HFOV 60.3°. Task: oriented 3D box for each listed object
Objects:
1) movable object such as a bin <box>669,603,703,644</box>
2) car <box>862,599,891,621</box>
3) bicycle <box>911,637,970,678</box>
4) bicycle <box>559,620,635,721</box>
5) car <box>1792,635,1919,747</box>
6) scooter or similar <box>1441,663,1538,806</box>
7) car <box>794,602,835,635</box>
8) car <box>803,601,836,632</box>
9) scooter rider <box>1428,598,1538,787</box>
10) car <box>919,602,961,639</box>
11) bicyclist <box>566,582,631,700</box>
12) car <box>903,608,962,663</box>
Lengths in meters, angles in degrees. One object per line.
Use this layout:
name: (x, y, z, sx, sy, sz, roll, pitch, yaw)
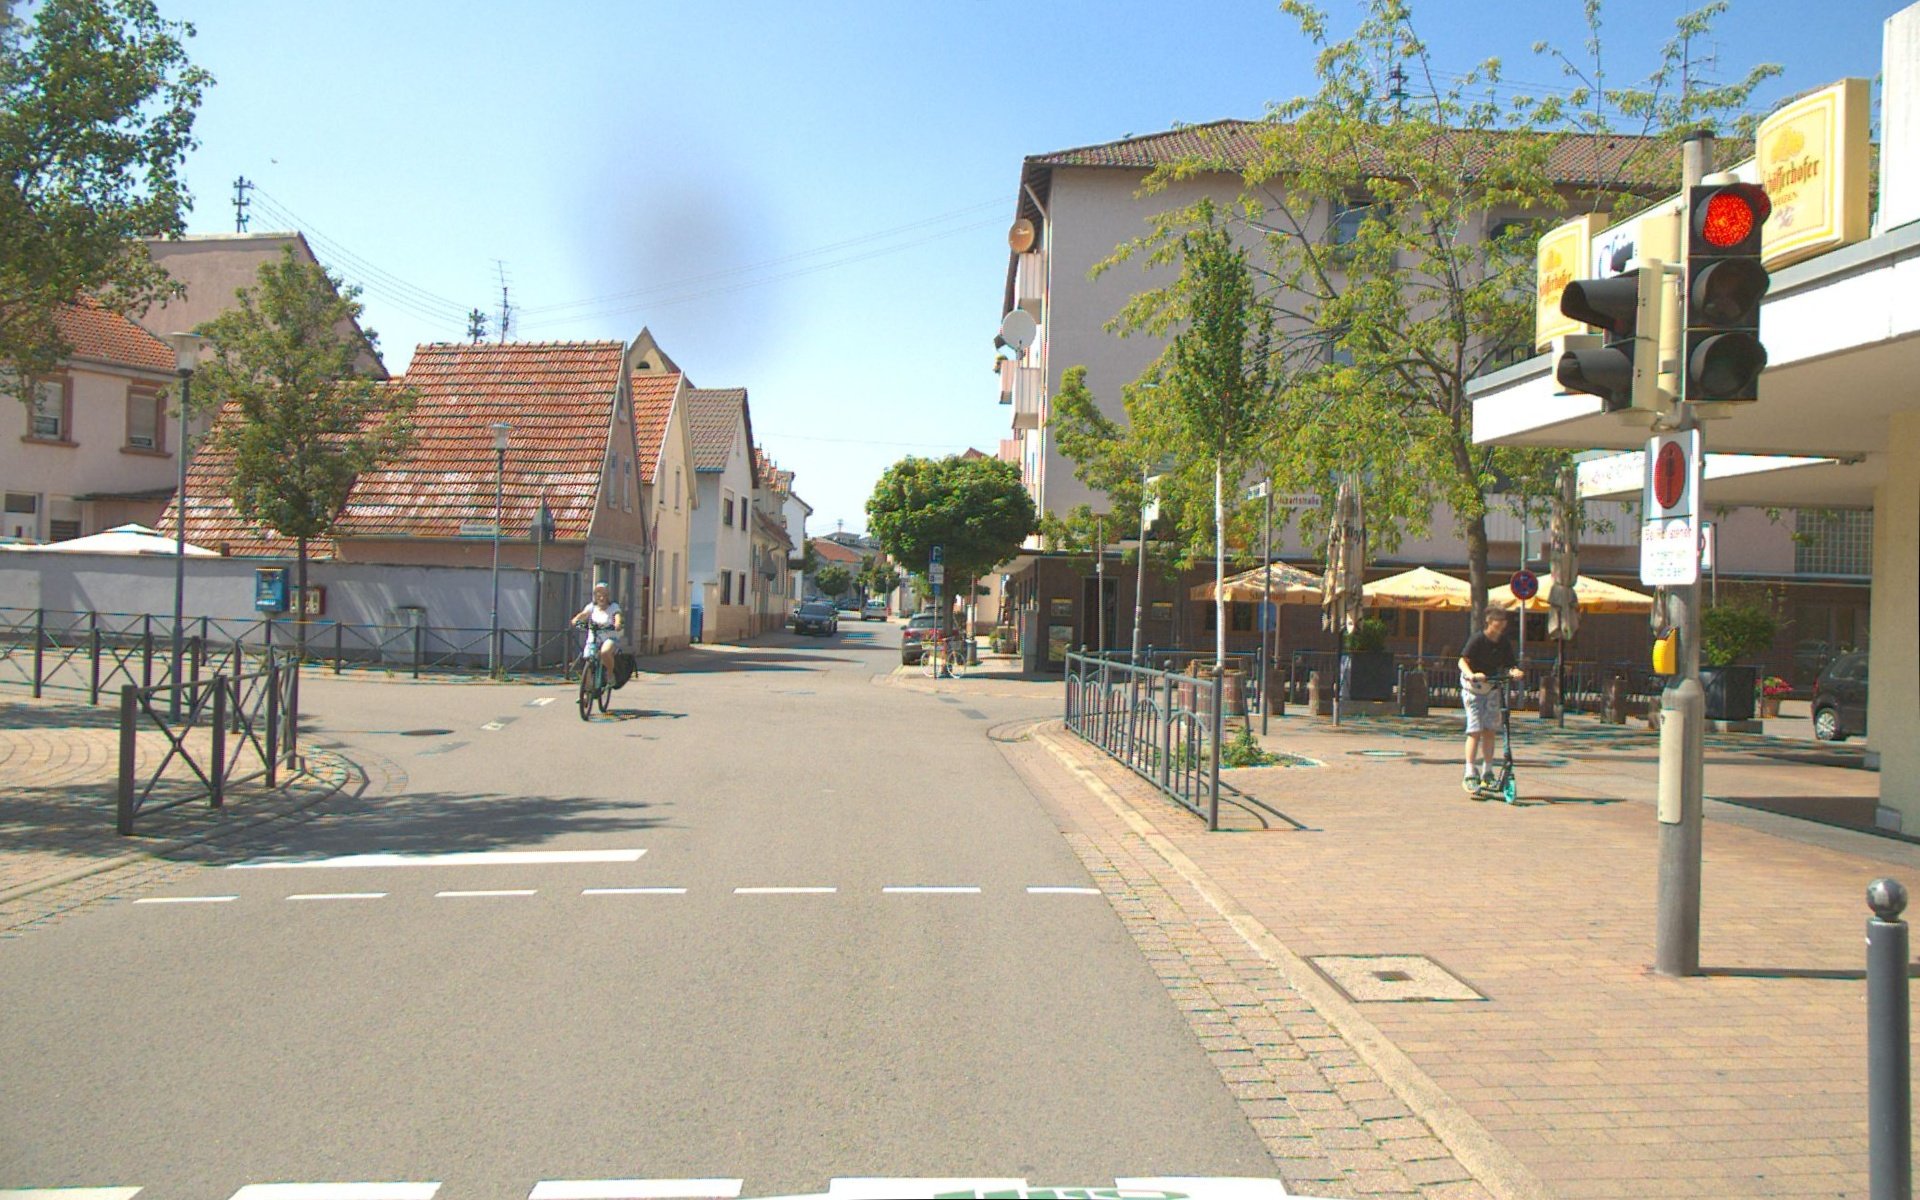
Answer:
movable object such as a bin: (-9.369, 0.811, 56.616, 1.078, 1.389, 0.390, 1, -1, 3)
car: (-6.537, 0.787, 128.922, 1.988, 1.626, 4.502, 1, 0, -7)
bicycle: (-0.465, 1.326, 38.546, 1.386, 0.913, 0.463, 0, 0, 36)
bicycle: (-4.837, 0.915, 22.147, 0.694, 1.274, 1.970, 1, 0, -4)
car: (14.054, 1.314, 23.893, 1.733, 1.536, 3.965, 2, -1, -7)
scooter or similar: (3.904, 0.974, 12.238, 0.402, 0.982, 0.960, 1, 0, 1)
car: (-6.846, 0.845, 78.074, 1.629, 1.502, 4.133, 1, 0, -1)
car: (-7.167, 0.835, 84.623, 1.630, 1.502, 3.447, 1, 0, -5)
scooter rider: (3.917, 0.668, 12.450, 0.452, 1.348, 1.133, 1, 0, 0)
car: (-0.981, 1.001, 81.027, 2.001, 1.718, 4.840, 1, 0, -1)
bicyclist: (-4.830, 0.542, 22.129, 0.700, 1.533, 0.870, 1, -1, -4)
car: (-0.748, 0.994, 47.164, 1.543, 1.479, 3.486, 1, -1, 1)
